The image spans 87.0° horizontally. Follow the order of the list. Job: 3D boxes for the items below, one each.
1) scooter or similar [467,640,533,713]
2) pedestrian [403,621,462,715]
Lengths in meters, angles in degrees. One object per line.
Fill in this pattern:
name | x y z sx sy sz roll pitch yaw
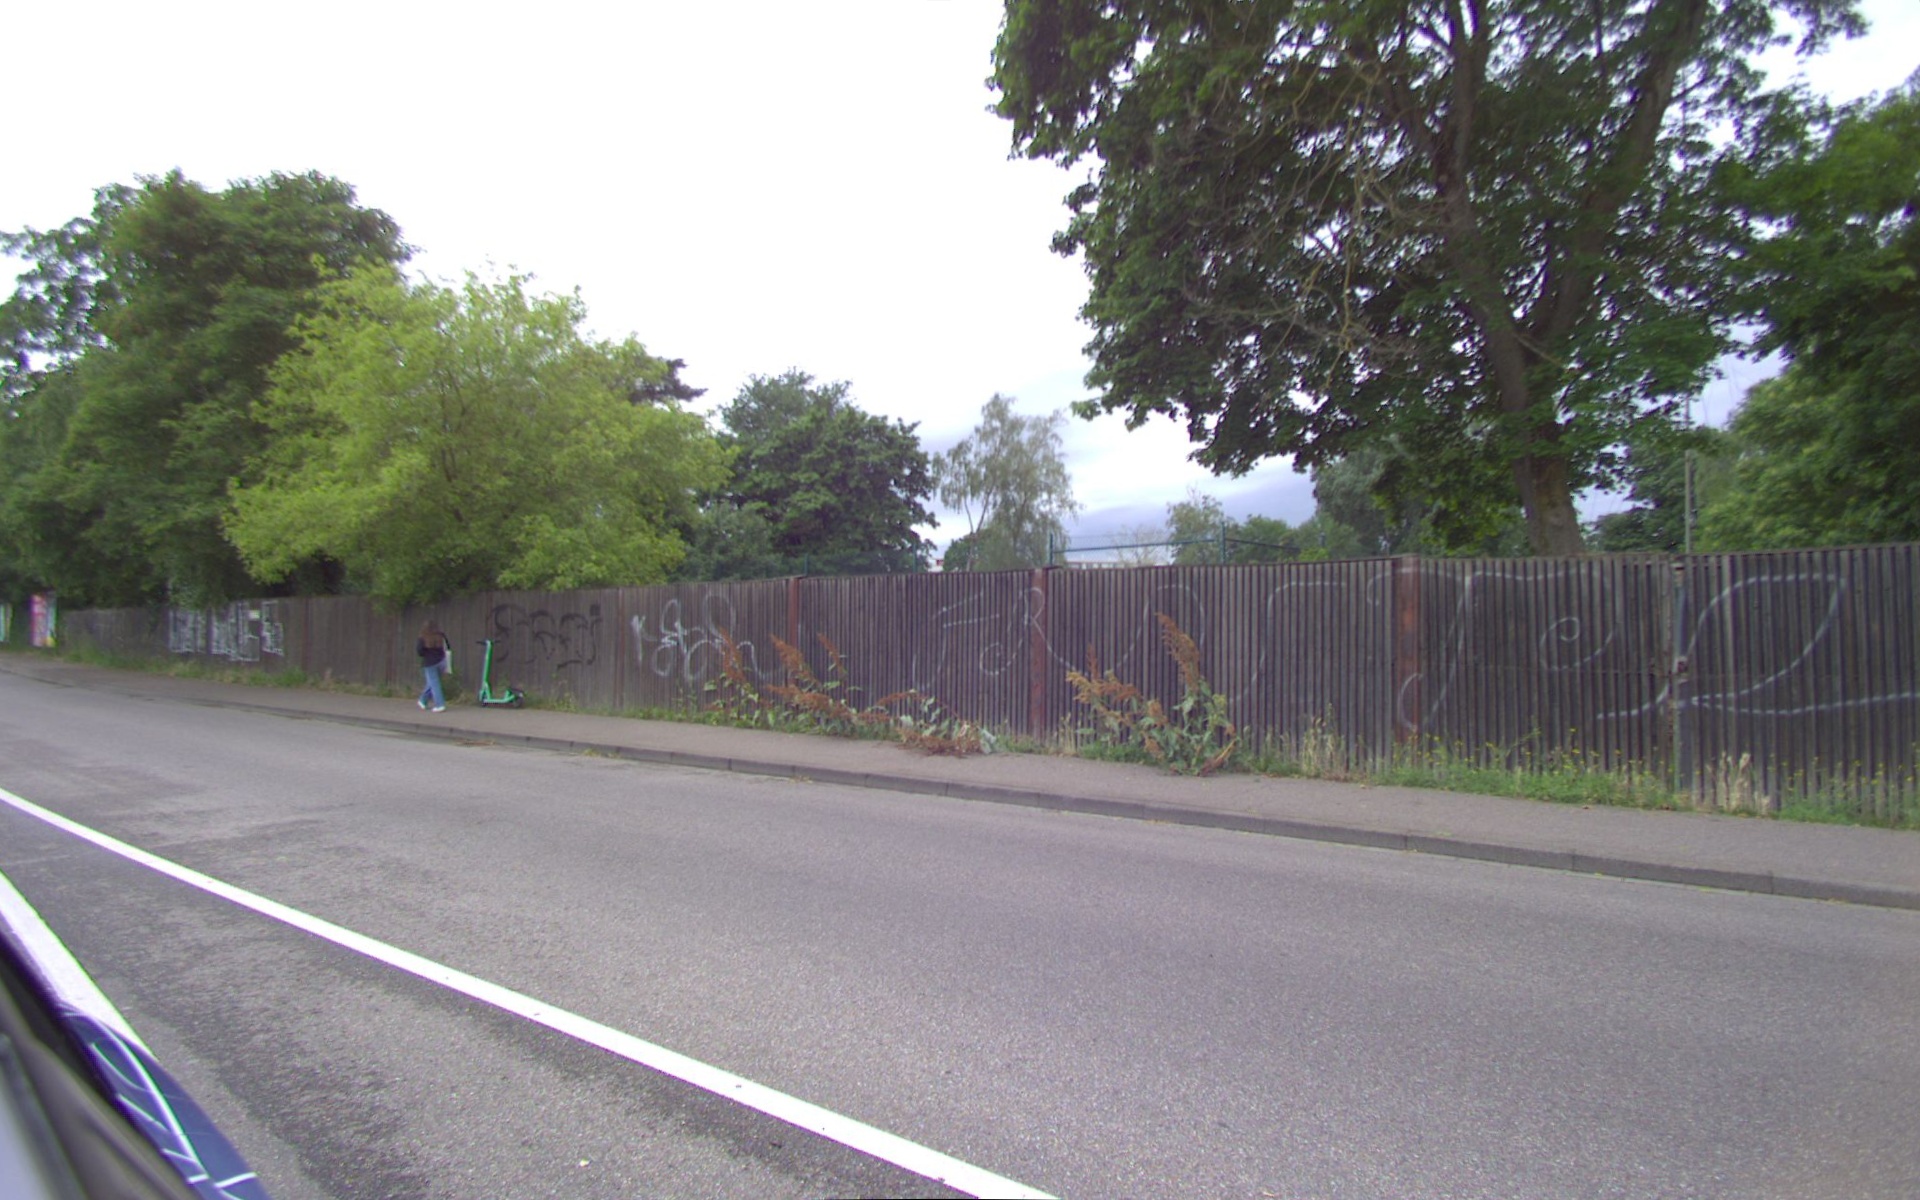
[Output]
scooter or similar | -7.815 1.283 17.180 1.301 1.179 0.419 -2 -2 36
pedestrian | -8.848 1.121 16.980 0.723 1.541 0.606 -2 -2 36
